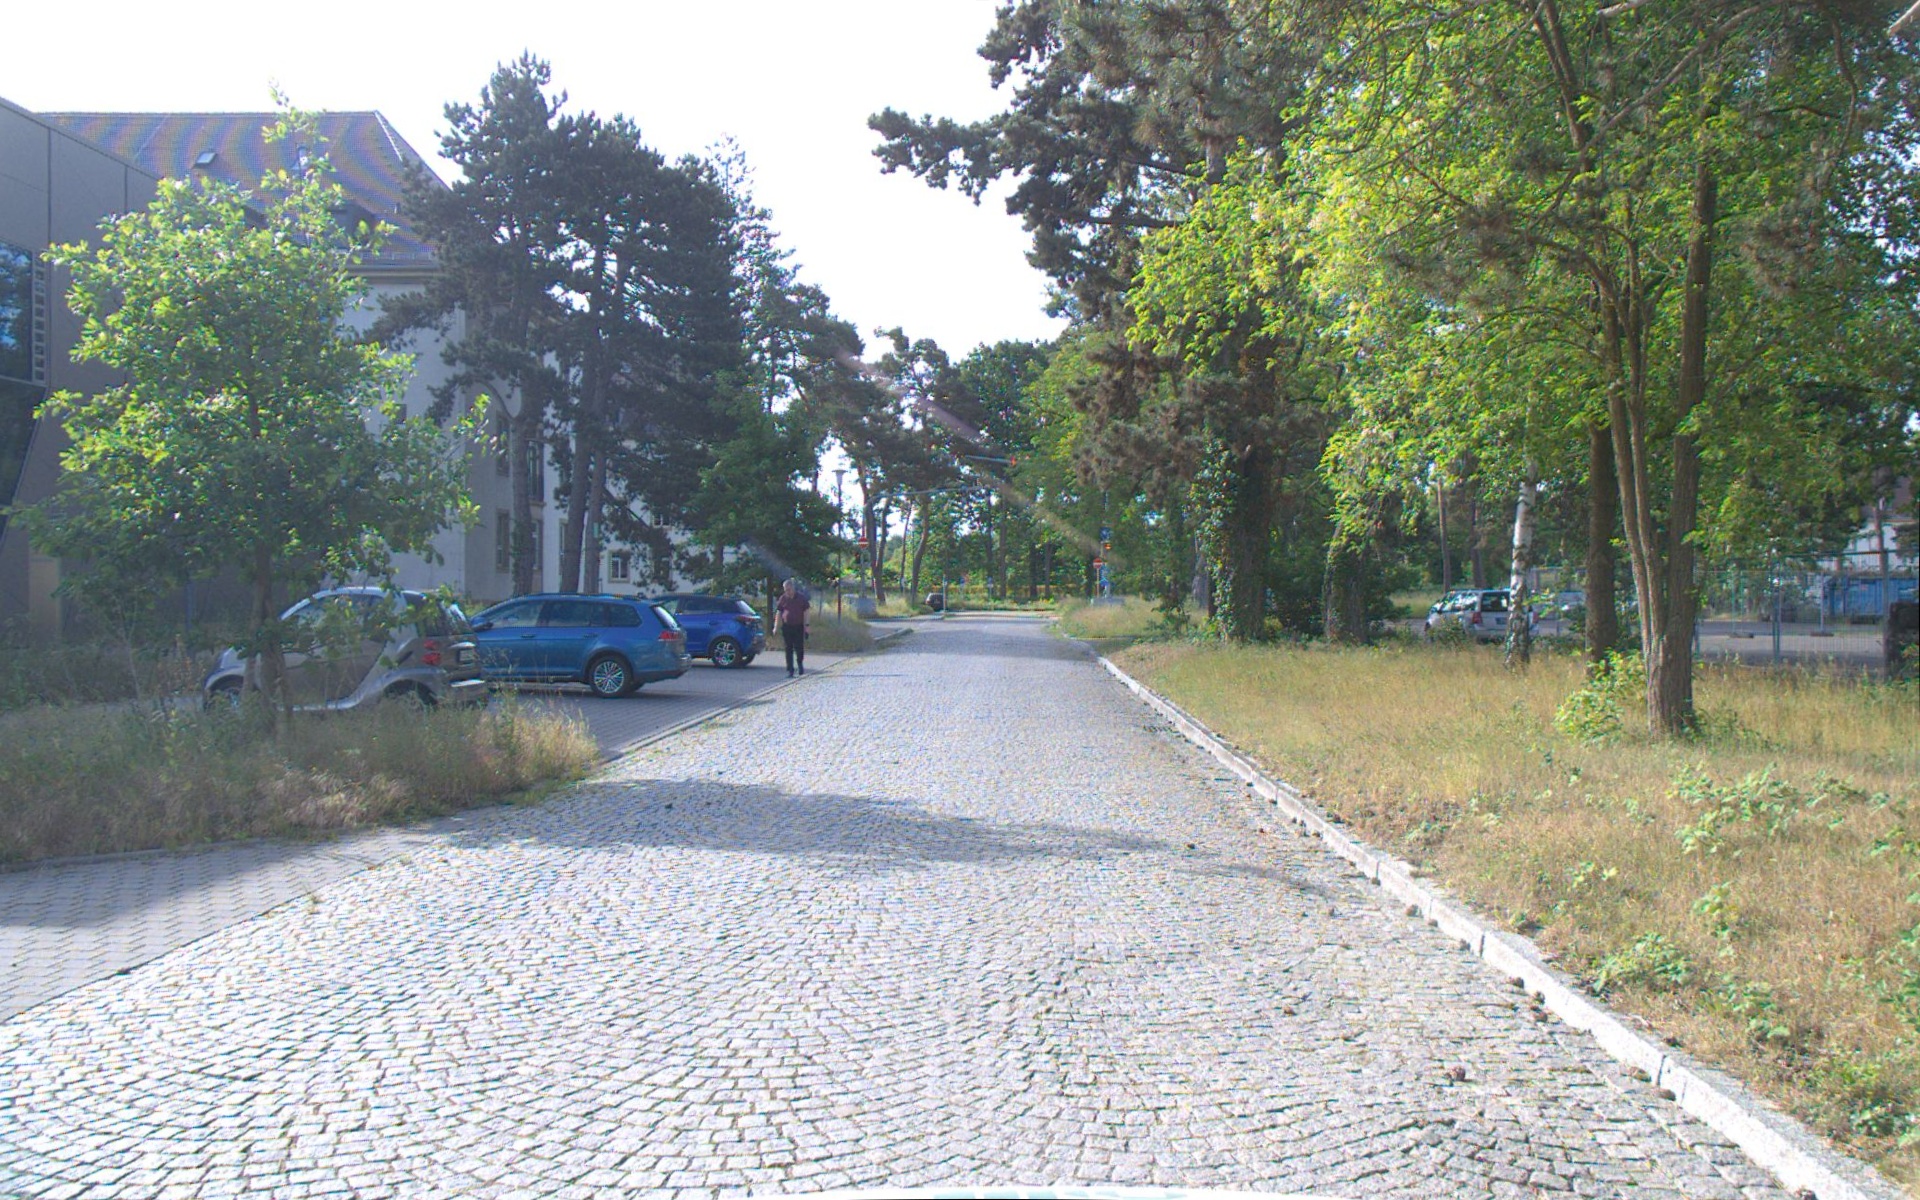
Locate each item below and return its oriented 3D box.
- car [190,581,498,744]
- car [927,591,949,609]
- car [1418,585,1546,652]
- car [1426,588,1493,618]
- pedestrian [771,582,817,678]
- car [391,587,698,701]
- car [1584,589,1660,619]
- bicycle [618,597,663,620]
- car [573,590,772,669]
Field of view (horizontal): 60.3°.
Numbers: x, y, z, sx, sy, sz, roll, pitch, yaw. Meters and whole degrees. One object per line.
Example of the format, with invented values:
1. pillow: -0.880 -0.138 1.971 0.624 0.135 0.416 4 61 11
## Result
1. car: -6.460 0.632 17.528 2.643 1.569 1.519 2 0 1
2. car: -1.867 -0.001 140.616 1.807 1.512 3.999 0 0 -1
3. car: 12.183 0.399 38.861 1.633 1.493 3.998 0 0 -2
4. car: 22.990 0.100 76.250 1.696 1.335 4.330 0 0 -2
5. pedestrian: -3.155 0.554 31.536 0.788 1.802 1.152 0 0 -2
6. car: -6.168 0.639 24.887 4.170 1.489 1.681 2 2 -1
7. car: 30.732 0.158 76.959 1.696 1.335 4.330 -1 0 -2
8. bicycle: -16.098 0.440 83.396 2.074 1.128 0.828 0 0 -2
9. car: -5.951 0.599 34.483 3.755 1.489 1.720 2 0 3
